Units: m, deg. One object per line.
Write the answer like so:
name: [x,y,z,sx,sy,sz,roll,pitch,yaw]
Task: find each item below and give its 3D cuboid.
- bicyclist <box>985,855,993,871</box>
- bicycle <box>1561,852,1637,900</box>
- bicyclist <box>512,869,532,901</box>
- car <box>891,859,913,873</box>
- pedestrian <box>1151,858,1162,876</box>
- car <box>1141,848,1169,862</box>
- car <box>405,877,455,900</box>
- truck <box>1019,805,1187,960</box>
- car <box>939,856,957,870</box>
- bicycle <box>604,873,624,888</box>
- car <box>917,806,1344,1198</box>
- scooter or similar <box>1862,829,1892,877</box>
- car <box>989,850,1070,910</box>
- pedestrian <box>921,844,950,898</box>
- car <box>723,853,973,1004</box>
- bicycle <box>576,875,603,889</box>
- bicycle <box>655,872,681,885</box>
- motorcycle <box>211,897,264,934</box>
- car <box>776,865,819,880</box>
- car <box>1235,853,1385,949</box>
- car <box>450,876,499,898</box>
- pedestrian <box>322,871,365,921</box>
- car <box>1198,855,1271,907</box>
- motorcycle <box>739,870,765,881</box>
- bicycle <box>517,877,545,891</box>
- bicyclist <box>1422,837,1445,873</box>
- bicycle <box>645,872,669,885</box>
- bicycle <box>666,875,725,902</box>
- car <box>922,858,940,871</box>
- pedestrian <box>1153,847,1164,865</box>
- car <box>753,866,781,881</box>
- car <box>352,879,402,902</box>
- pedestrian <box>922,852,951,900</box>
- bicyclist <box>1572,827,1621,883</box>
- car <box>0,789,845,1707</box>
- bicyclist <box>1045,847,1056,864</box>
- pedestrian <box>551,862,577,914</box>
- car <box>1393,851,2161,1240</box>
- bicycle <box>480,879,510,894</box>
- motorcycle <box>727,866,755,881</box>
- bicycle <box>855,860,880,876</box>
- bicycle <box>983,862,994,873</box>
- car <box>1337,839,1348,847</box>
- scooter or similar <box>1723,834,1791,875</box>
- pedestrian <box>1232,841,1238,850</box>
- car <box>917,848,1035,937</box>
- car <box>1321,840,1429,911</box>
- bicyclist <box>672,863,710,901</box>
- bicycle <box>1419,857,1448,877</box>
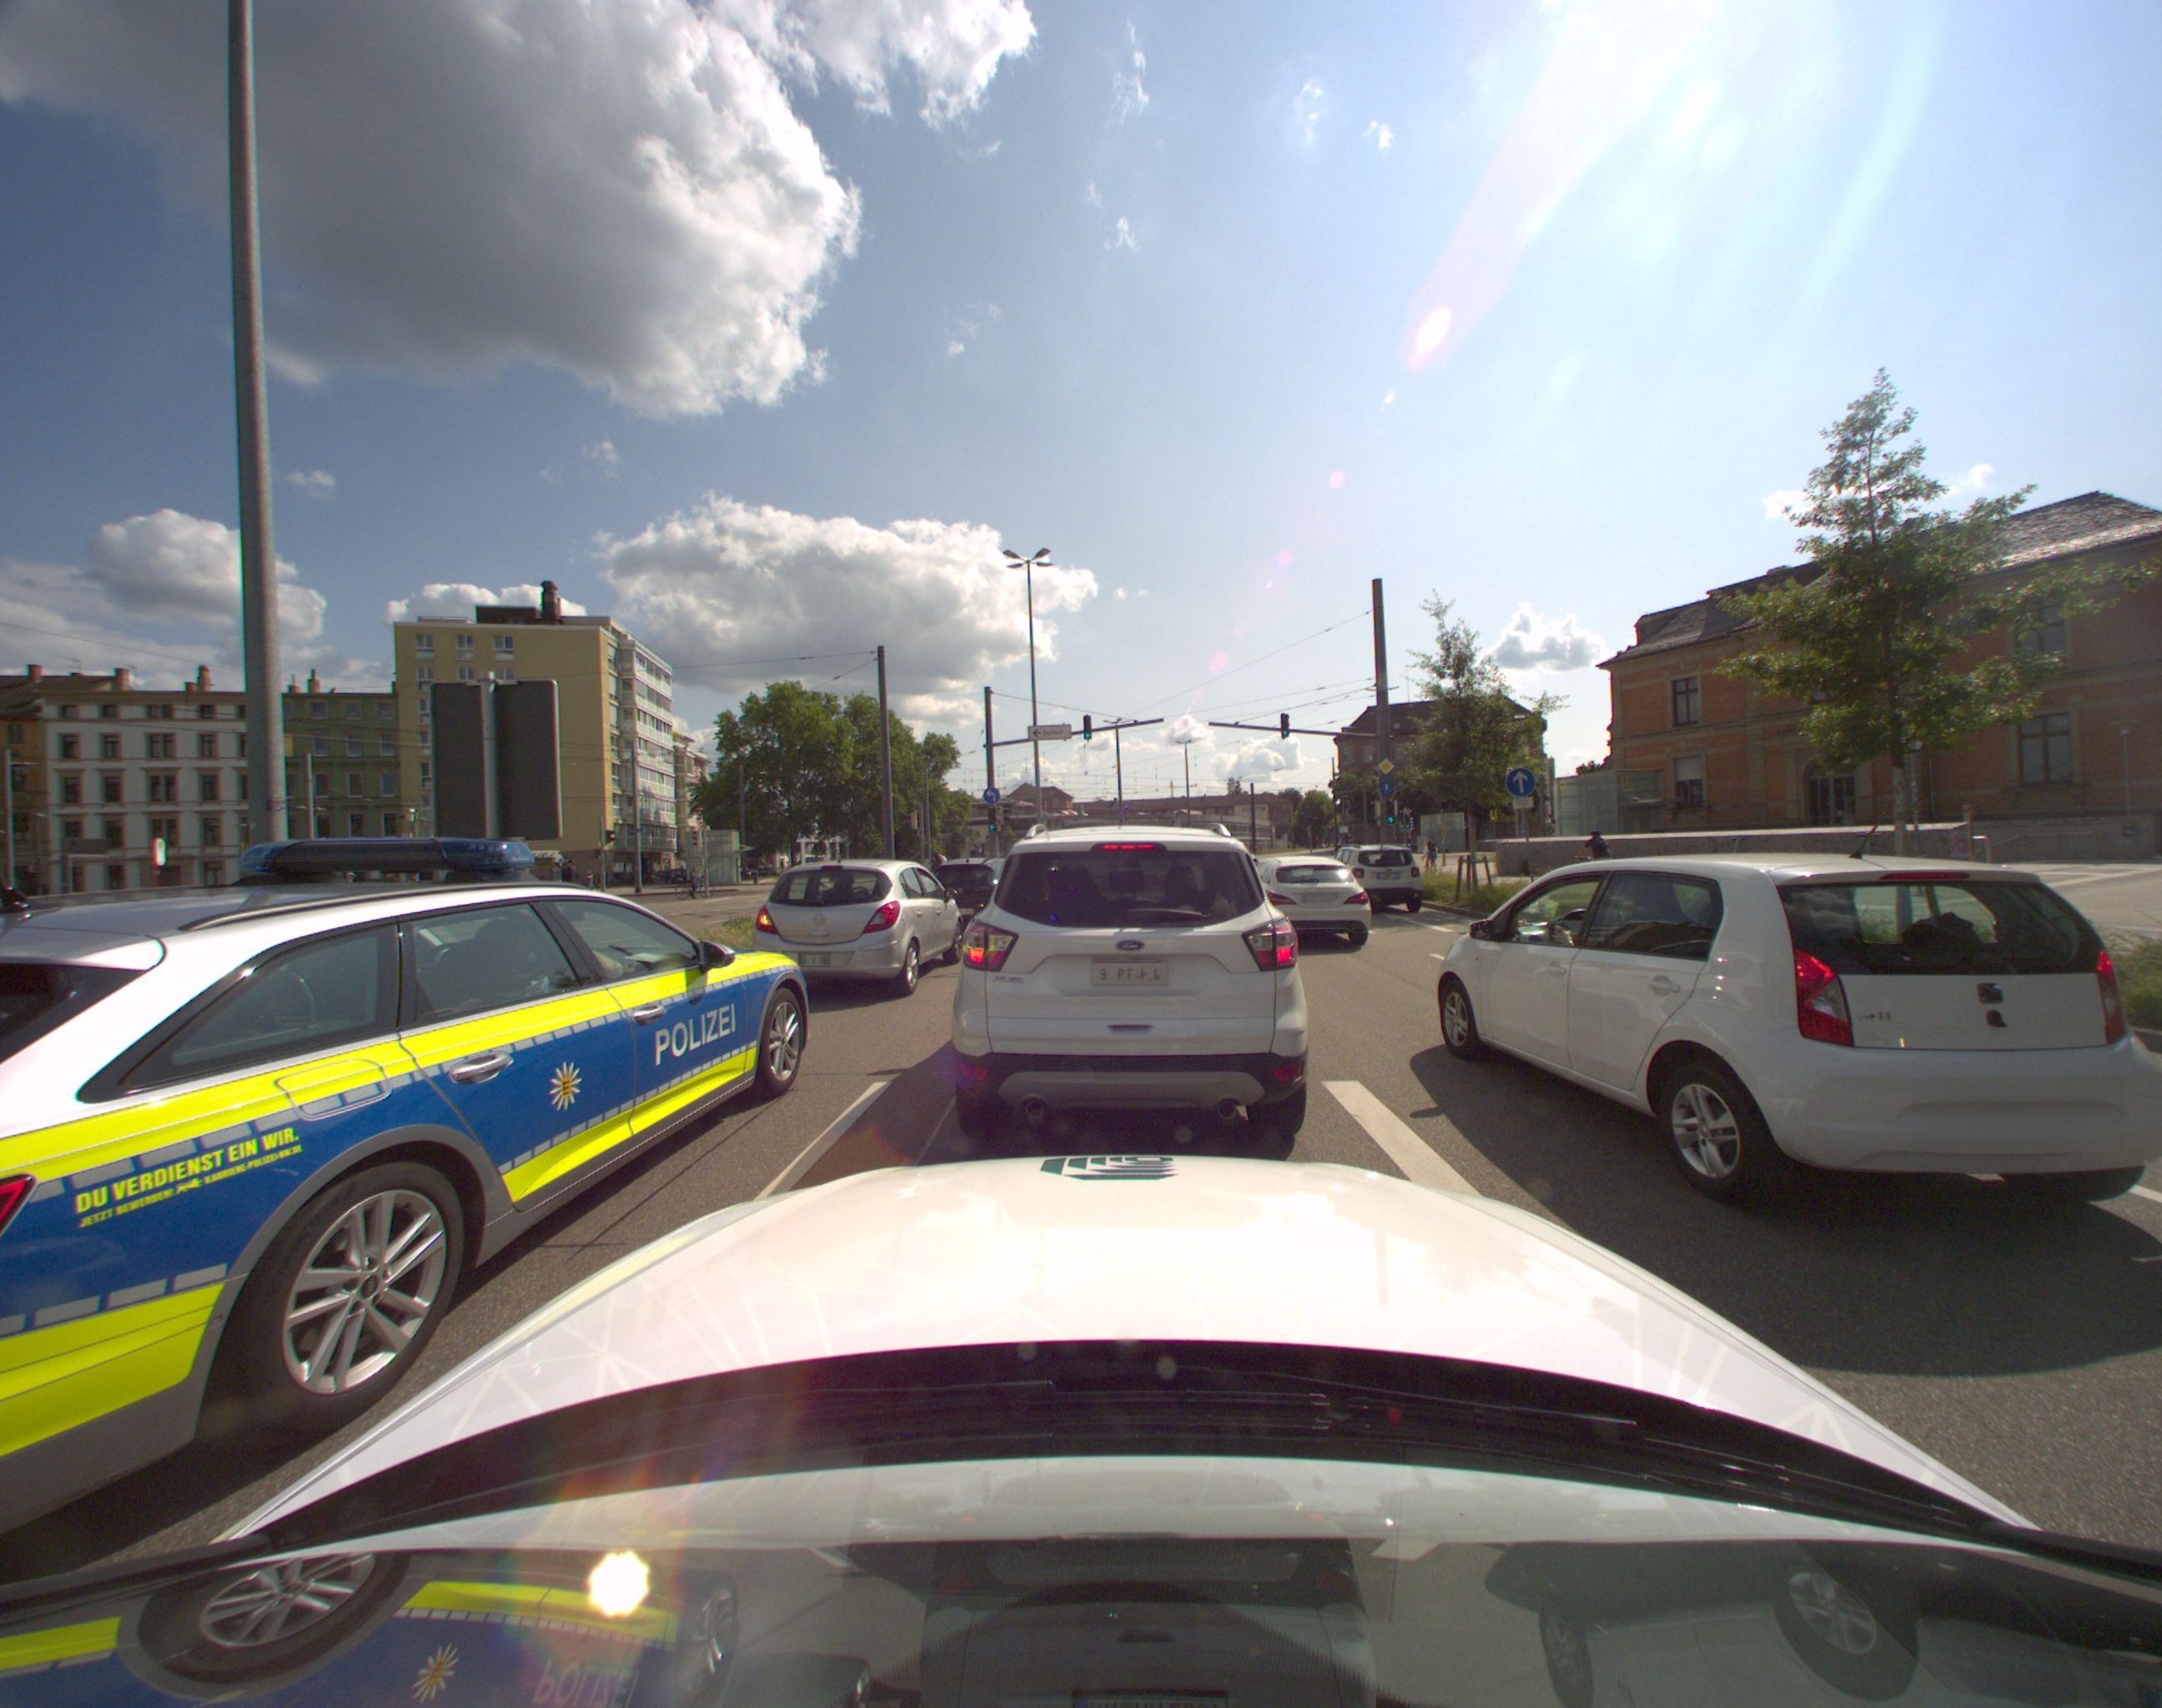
bicyclist: [-10.341,0.964,91.182,0.641,1.738,0.655,-2,0,-30]
bicycle: [11.954,0.476,18.880,0.841,0.970,1.968,-5,0,14]
bicyclist: [-32.426,1.803,47.279,0.779,1.797,0.706,0,-1,-17]
car: [-27.544,1.860,125.615,1.960,1.937,5.070,-4,-1,1]
pedestrian: [7.330,1.300,79.118,0.926,1.744,0.585,0,-1,-19]
car: [8.533,0.067,93.679,1.882,1.461,3.991,-3,0,24]
car: [-48.057,2.536,60.113,3.849,1.496,1.912,-3,-2,35]
truck: [0.564,0.398,14.279,2.327,2.155,5.860,0,0,5]
car: [-20.297,1.448,124.336,1.989,2.014,4.227,-4,-1,-2]
bicycle: [-41.322,2.307,72.094,0.792,1.258,1.808,-2,0,-2]
car: [0.387,0.645,5.499,1.818,1.664,3.961,-1,0,5]
scooter or similar: [19.686,-0.032,20.147,1.326,1.104,0.460,-4,0,-44]
car: [-1.418,0.700,24.257,2.032,1.578,4.540,-1,0,1]
pedestrian: [-5.383,0.630,30.164,0.844,1.917,0.693,-3,-1,1]
car: [-2.629,0.761,10.256,1.841,1.474,4.002,-2,0,2]
bicycle: [-42.400,2.397,70.225,1.808,1.104,0.792,-2,0,-18]
bicycle: [-38.048,2.241,75.010,1.948,1.147,0.792,-2,0,-17]
motorcycle: [-30.649,2.225,29.596,1.436,1.236,0.484,-3,-1,3]
car: [-30.446,2.006,87.496,3.975,1.327,1.632,-3,-1,-1]
car: [3.789,0.712,14.083,1.841,1.419,3.684,-1,0,5]
car: [-45.970,2.483,61.677,3.849,1.496,1.912,-3,-2,36]
pedestrian: [-27.142,1.521,29.997,0.766,1.797,1.023,0,-1,-14]
car: [4.602,0.767,24.909,1.841,1.419,3.684,-1,0,5]
motorcycle: [-31.415,2.013,77.769,0.801,0.917,2.057,-2,1,39]
bicycle: [-46.811,2.512,69.322,1.808,1.104,0.792,-2,0,-18]
bicyclist: [14.457,0.052,33.403,0.605,1.451,0.775,-2,0,3]
bicycle: [-38.361,2.219,73.713,1.808,1.147,0.792,-2,0,-17]
bicycle: [-18.477,1.651,39.104,2.286,1.188,0.994,-3,-1,-1]
car: [-22.931,1.638,124.653,1.963,1.937,4.227,-4,-1,-2]
pedestrian: [7.468,0.192,78.412,0.927,1.744,0.585,0,-1,-21]
car: [-32.488,2.040,84.401,1.905,1.413,3.986,-3,-1,-10]
car: [-51.478,2.672,59.558,3.849,1.496,1.912,-3,-2,35]
pedestrian: [-5.215,0.788,29.348,0.844,1.648,0.693,-3,-1,1]
bicyclist: [11.890,0.019,18.814,0.630,1.220,0.927,-4,0,13]
car: [-2.718,0.703,3.486,1.873,1.568,4.617,-2,0,2]
bicyclist: [-2.984,0.159,80.435,0.753,1.683,0.764,-3,0,16]
pedestrian: [-19.121,1.245,30.149,0.770,1.903,0.819,0,-1,-30]
car: [3.506,0.707,5.013,1.644,1.422,3.999,0,0,0]
bicycle: [-49.384,2.740,68.645,1.808,1.104,0.792,-2,0,-18]
motorcycle: [-30.463,1.782,72.901,2.193,1.238,0.910,-2,1,19]
bicycle: [-19.800,1.320,75.578,2.171,1.414,0.808,-1,0,-14]
bicycle: [-10.379,1.489,91.297,0.641,1.125,1.768,-2,0,-28]
car: [54.039,-2.261,168.075,1.820,1.652,4.021,-2,-1,22]
scooter or similar: [19.390,0.016,23.402,0.466,1.118,1.438,-3,0,-18]
pedestrian: [27.536,-1.518,145.508,0.866,1.737,0.882,-1,-1,37]
car: [-2.040,0.709,17.094,1.756,1.568,4.528,-2,0,1]
car: [7.485,0.525,21.127,1.826,1.652,4.009,-1,-1,8]
bicyclist: [-18.700,1.339,39.093,1.293,1.731,0.994,-3,-1,-1]
bicycle: [14.460,0.536,33.433,0.582,0.775,1.623,-2,0,4]
